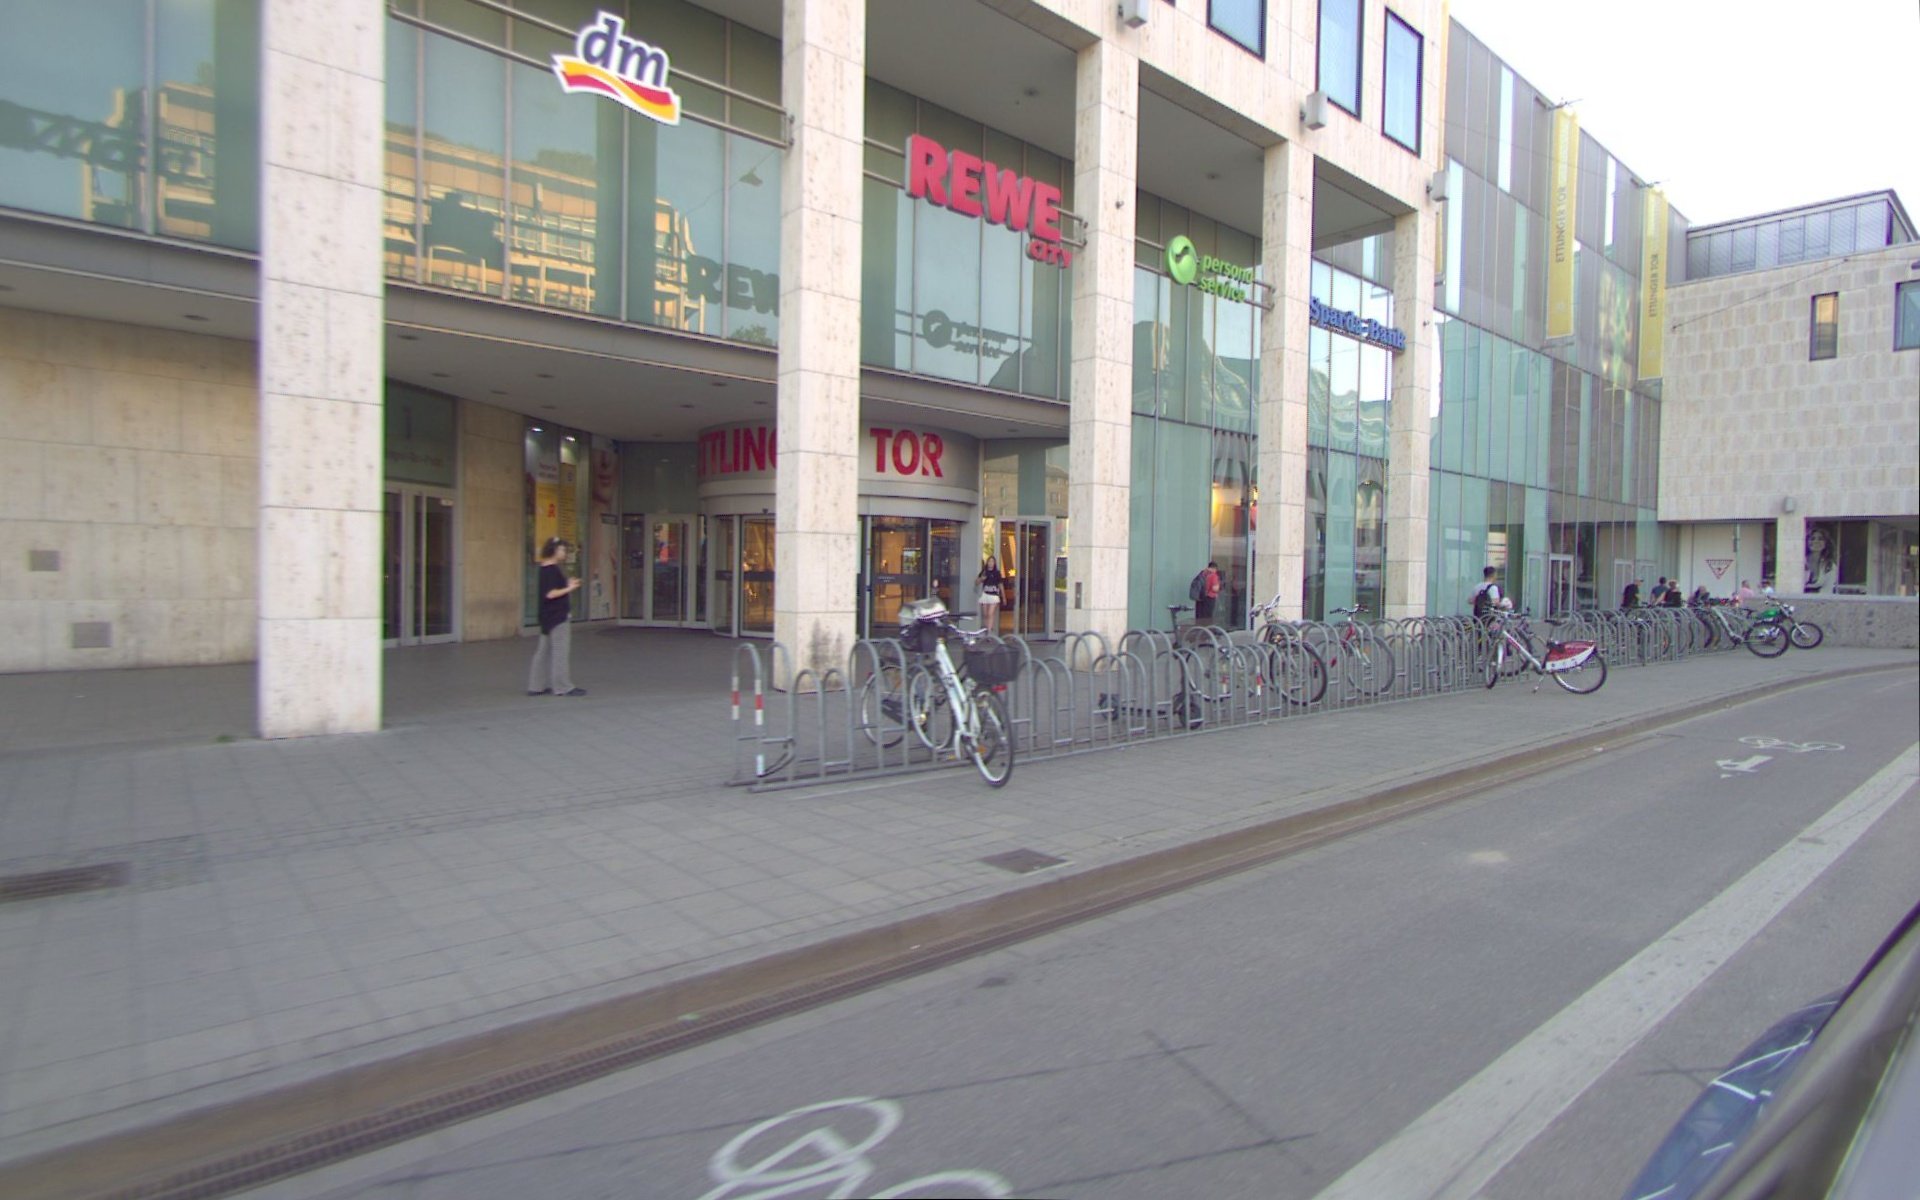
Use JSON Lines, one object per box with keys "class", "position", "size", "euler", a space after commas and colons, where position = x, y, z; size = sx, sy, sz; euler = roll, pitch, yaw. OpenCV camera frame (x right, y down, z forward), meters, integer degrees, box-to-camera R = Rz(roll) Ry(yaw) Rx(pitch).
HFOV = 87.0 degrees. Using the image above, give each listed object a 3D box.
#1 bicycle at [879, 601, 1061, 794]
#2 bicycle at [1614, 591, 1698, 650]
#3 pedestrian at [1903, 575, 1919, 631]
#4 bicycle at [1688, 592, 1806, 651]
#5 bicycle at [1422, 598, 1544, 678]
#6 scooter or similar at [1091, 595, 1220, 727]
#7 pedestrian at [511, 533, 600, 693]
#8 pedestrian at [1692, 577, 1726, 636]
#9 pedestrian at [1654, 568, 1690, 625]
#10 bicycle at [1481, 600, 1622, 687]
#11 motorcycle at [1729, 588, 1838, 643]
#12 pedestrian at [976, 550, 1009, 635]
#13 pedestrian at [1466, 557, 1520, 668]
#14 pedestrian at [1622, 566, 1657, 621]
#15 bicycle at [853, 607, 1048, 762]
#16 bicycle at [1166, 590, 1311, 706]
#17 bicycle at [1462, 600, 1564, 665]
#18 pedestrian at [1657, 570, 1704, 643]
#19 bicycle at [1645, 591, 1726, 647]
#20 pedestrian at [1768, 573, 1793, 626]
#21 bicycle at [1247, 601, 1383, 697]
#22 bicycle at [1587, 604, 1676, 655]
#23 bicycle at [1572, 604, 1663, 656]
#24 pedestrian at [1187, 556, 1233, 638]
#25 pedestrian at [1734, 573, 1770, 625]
{"class": "bicycle", "position": [0.030, 0.633, 7.317], "size": [0.538, 1.198, 1.485], "euler": [0, 2, -35]}
{"class": "bicycle", "position": [14.309, 0.410, 20.828], "size": [0.509, 1.178, 1.344], "euler": [0, -1, -41]}
{"class": "pedestrian", "position": [30.178, 0.085, 31.977], "size": [0.483, 1.765, 0.455], "euler": [0, 1, -38]}
{"class": "bicycle", "position": [16.044, 0.430, 20.677], "size": [0.458, 1.161, 1.837], "euler": [0, -1, -39]}
{"class": "bicycle", "position": [7.854, 0.546, 15.247], "size": [0.570, 1.138, 1.519], "euler": [0, -1, -36]}
{"class": "scooter or similar", "position": [1.953, 0.576, 10.215], "size": [0.484, 1.214, 1.194], "euler": [0, 2, -44]}
{"class": "pedestrian", "position": [-4.413, 0.117, 11.025], "size": [0.695, 1.659, 0.792], "euler": [0, 1, -39]}
{"class": "pedestrian", "position": [23.325, 0.183, 31.504], "size": [0.797, 1.802, 0.619], "euler": [0, 1, -38]}
{"class": "pedestrian", "position": [21.648, -0.114, 30.769], "size": [0.806, 1.717, 0.697], "euler": [0, 2, -43]}
{"class": "bicycle", "position": [7.708, 0.547, 13.239], "size": [0.458, 1.077, 1.518], "euler": [0, -1, -39]}
{"class": "motorcycle", "position": [20.060, 0.358, 24.696], "size": [0.473, 1.239, 2.004], "euler": [0, 2, -43]}
{"class": "pedestrian", "position": [0.654, -0.155, 20.371], "size": [0.618, 1.672, 0.708], "euler": [1, 1, 1]}
{"class": "pedestrian", "position": [8.524, 0.178, 16.179], "size": [0.702, 1.713, 0.623], "euler": [1, 1, 30]}
{"class": "pedestrian", "position": [21.062, -0.204, 31.364], "size": [0.738, 1.668, 0.807], "euler": [2, 2, 43]}
{"class": "bicycle", "position": [-0.119, 0.640, 8.408], "size": [1.768, 1.091, 0.475], "euler": [3, 2, 43]}
{"class": "bicycle", "position": [3.165, 0.521, 11.605], "size": [0.607, 1.243, 1.517], "euler": [0, -1, -41]}
{"class": "bicycle", "position": [9.489, 0.544, 17.386], "size": [1.439, 1.078, 0.572], "euler": [-1, -1, 39]}
{"class": "pedestrian", "position": [16.858, 0.128, 23.691], "size": [0.802, 1.663, 0.640], "euler": [2, 1, 31]}
{"class": "bicycle", "position": [15.873, 0.411, 22.152], "size": [0.509, 1.178, 1.344], "euler": [0, -1, -41]}
{"class": "pedestrian", "position": [27.837, -0.025, 34.332], "size": [0.644, 1.765, 0.494], "euler": [0, 1, -38]}
{"class": "bicycle", "position": [4.398, 0.585, 12.608], "size": [0.543, 1.120, 1.516], "euler": [0, -1, -43]}
{"class": "bicycle", "position": [12.934, 0.557, 19.520], "size": [0.509, 0.944, 1.344], "euler": [0, -1, -41]}
{"class": "bicycle", "position": [12.423, 0.554, 19.141], "size": [0.509, 0.944, 1.344], "euler": [0, -1, -41]}
{"class": "pedestrian", "position": [5.211, -0.064, 21.099], "size": [0.695, 1.672, 0.629], "euler": [0, 1, -40]}
{"class": "pedestrian", "position": [27.070, -0.046, 34.604], "size": [0.644, 1.765, 0.794], "euler": [0, 1, -38]}
